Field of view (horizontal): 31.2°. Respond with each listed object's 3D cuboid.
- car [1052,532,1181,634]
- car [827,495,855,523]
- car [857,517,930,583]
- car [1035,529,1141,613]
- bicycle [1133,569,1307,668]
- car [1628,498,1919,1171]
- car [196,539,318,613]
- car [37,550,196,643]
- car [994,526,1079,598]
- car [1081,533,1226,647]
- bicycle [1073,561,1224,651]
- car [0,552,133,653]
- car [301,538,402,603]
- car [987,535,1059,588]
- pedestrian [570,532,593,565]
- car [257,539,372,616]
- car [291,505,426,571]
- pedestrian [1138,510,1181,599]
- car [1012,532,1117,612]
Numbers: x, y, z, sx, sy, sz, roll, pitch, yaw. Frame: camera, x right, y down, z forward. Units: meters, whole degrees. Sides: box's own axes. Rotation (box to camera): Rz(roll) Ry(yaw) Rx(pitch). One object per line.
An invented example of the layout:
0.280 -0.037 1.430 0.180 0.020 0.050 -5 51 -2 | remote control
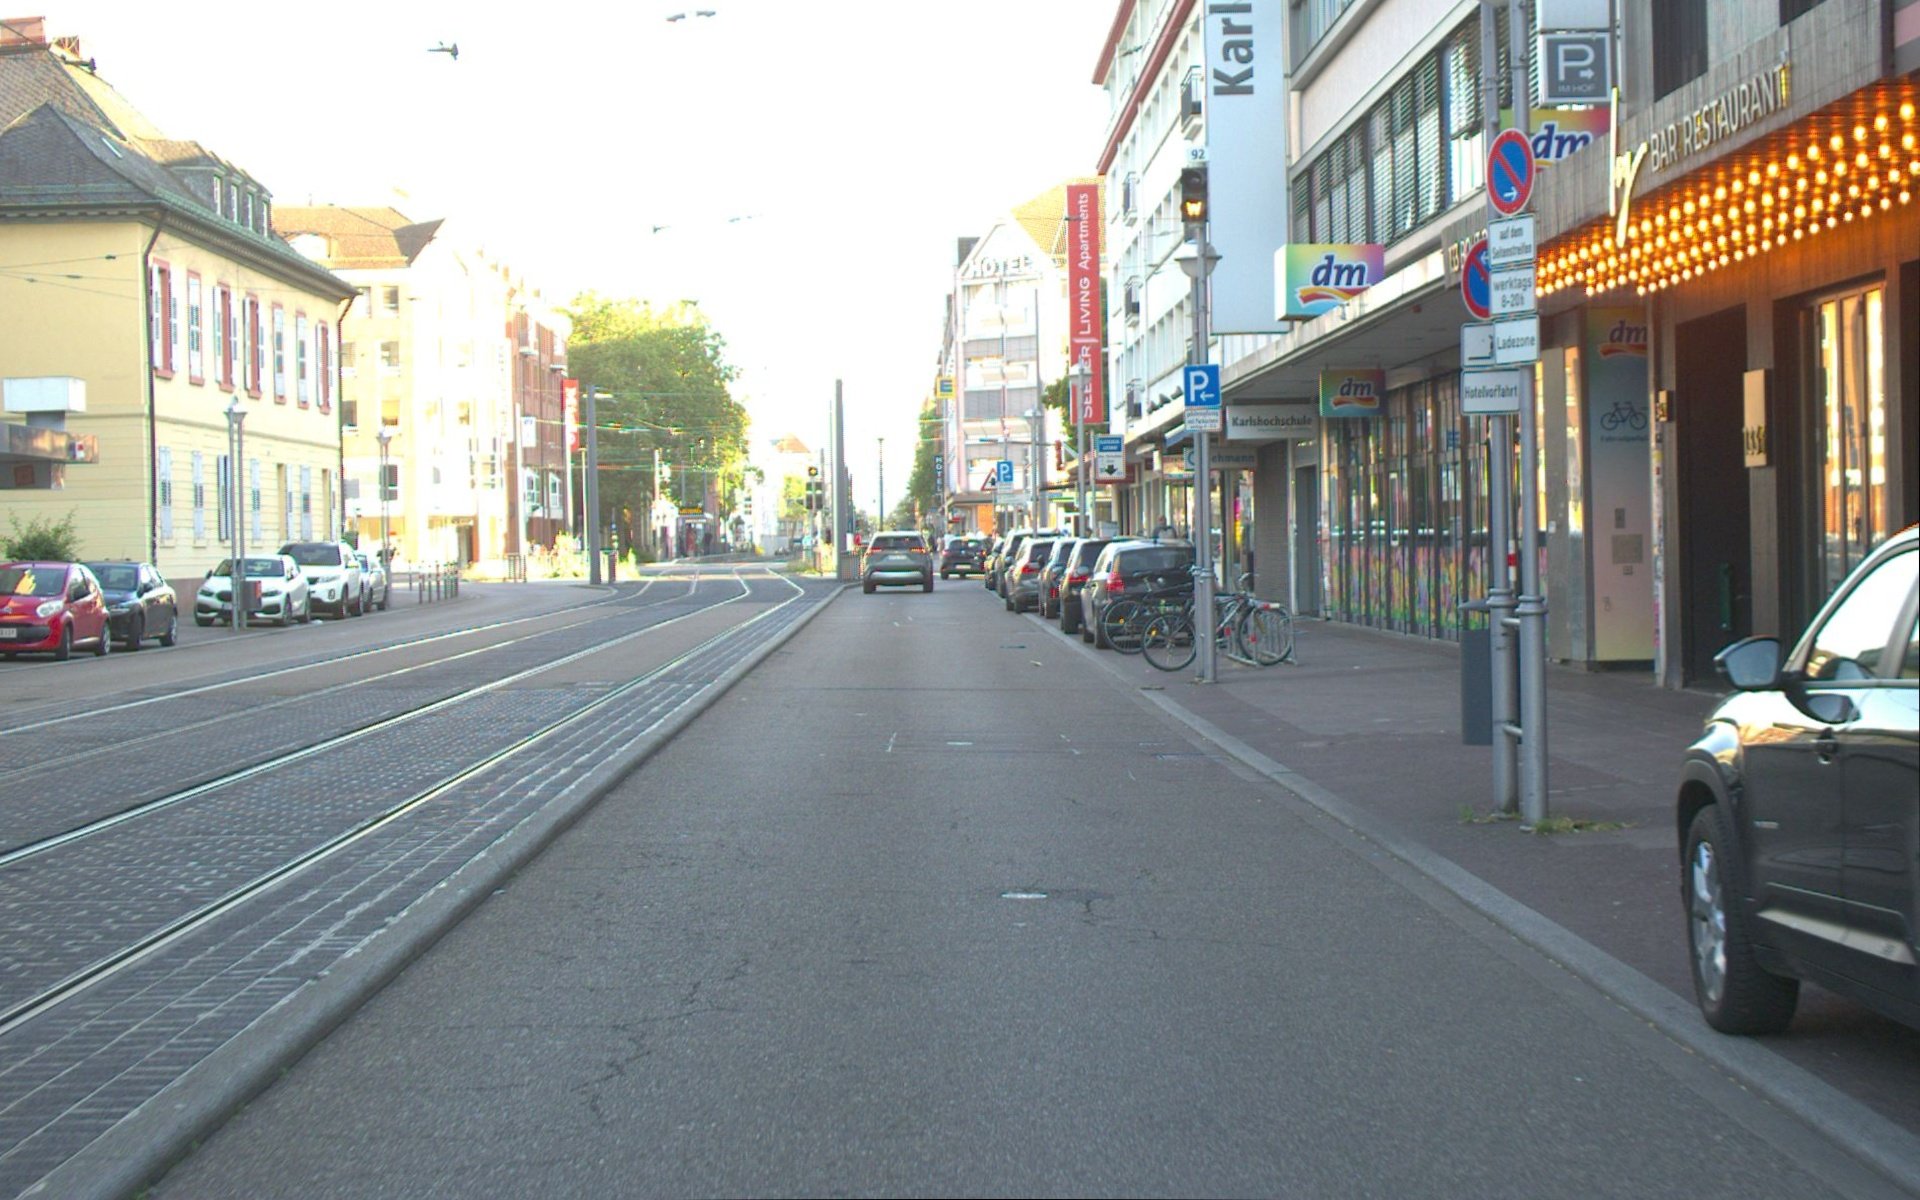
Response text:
2.408 -0.275 53.796 1.765 1.508 4.072 1 1 -1 | car
-8.873 -6.783 256.023 1.955 2.007 4.000 1 1 -1 | car
-1.787 -1.334 93.466 1.835 1.630 4.090 -2 0 0 | car
2.318 -0.536 63.159 1.726 1.476 4.000 1 1 -1 | car
2.847 0.195 37.683 1.794 0.969 0.576 -3 1 -4 | bicycle
3.027 0.512 8.868 1.740 1.535 3.966 -1 1 -1 | car
-14.410 -0.520 70.647 1.721 1.448 4.284 1 1 -1 | car
-13.928 -0.081 56.968 1.692 1.420 3.965 1 1 -1 | car
1.829 -0.923 83.633 1.856 1.695 4.418 1 1 -1 | car
2.587 -0.151 46.745 1.654 1.458 4.023 1 1 -1 | car
2.377 0.073 43.465 1.839 1.106 0.642 -1 1 -4 | bicycle
-13.745 0.014 51.892 1.691 1.429 3.592 -1 1 -1 | car
-14.449 -0.725 81.757 1.748 1.469 4.001 1 1 -1 | car
1.708 -1.056 95.160 1.790 1.408 4.688 1 1 -1 | car
-15.910 -2.180 144.569 0.903 1.370 0.854 -1 0 -3 | pedestrian
-14.435 -0.531 77.111 1.886 1.655 4.762 1 1 -3 | car
-19.224 -1.977 109.812 3.986 2.007 2.001 -1 1 -17 | car
4.262 -0.964 73.595 0.774 1.874 0.935 -1 0 -3 | pedestrian
2.057 -0.561 68.877 1.791 1.528 4.857 1 1 -2 | car
